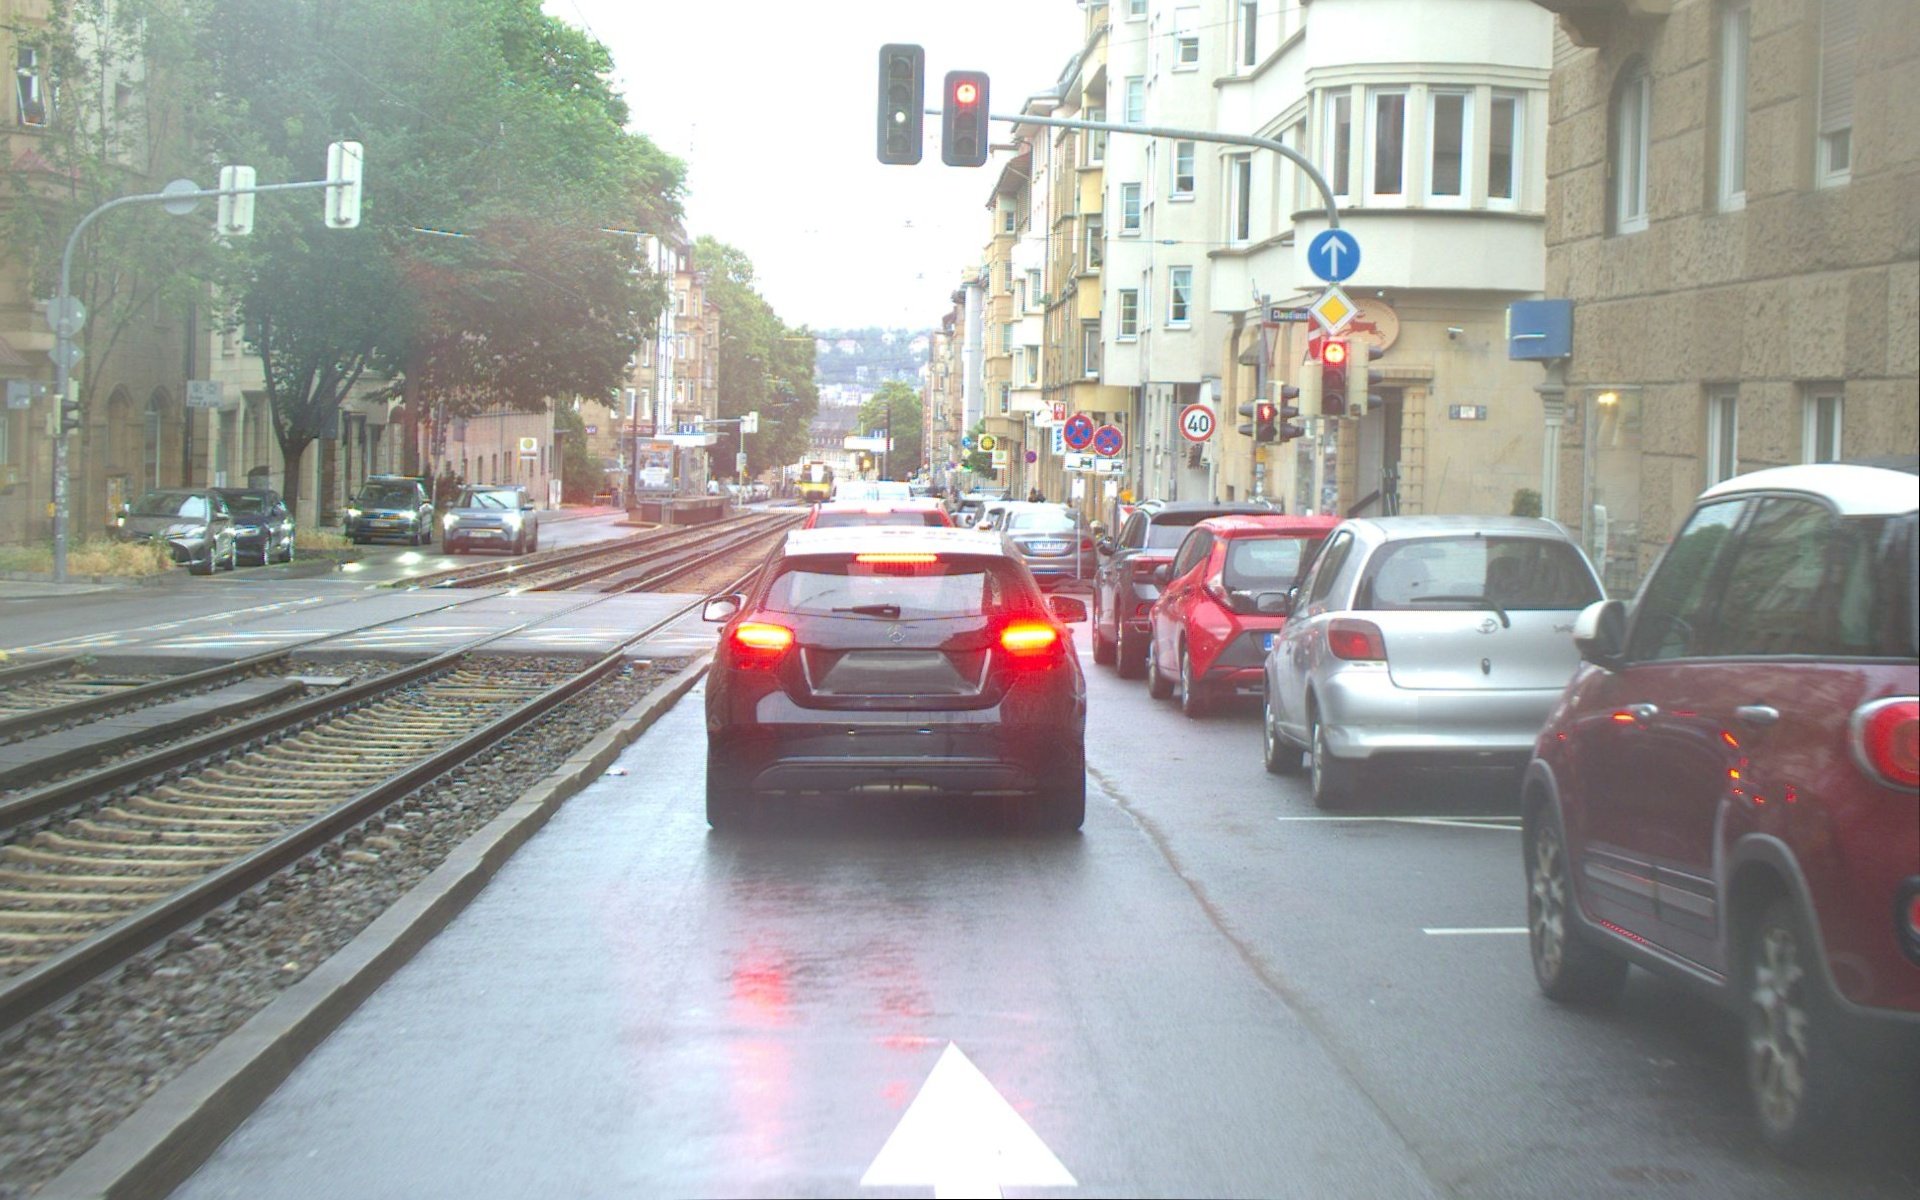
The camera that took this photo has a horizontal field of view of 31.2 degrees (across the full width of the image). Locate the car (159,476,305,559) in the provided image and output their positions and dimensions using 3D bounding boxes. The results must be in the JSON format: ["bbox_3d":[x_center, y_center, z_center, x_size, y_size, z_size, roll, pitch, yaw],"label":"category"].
[{"bbox_3d":[-14.019,-1.608,66.427,1.993,1.512,4.001,1,2,-1],"label":"car"}]

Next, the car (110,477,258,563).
[{"bbox_3d":[-13.758,-1.411,61.110,1.771,1.459,4.000,1,1,-1],"label":"car"}]

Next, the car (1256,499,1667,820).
[{"bbox_3d":[2.619,0.243,18.651,1.638,1.537,3.466,1,2,-1],"label":"car"}]

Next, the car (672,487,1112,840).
[{"bbox_3d":[-0.375,0.256,17.150,1.946,1.559,3.643,1,1,-2],"label":"car"}]

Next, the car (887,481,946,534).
[{"bbox_3d":[-1.474,-3.122,115.535,1.909,1.700,4.001,1,2,-1],"label":"car"}]

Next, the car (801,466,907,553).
[{"bbox_3d":[-2.082,-1.819,68.635,1.921,1.649,4.000,1,2,0],"label":"car"}]

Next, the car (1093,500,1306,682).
[{"bbox_3d":[2.123,-0.135,31.369,1.549,1.503,4.001,2,2,-1],"label":"car"}]

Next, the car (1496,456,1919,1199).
[{"bbox_3d":[2.688,0.478,9.246,1.710,1.623,4.001,2,2,-2],"label":"car"}]

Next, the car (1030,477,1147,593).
[{"bbox_3d":[2.308,-1.166,62.547,1.898,2.021,4.176,1,0,-1],"label":"car"}]

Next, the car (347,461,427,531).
[{"bbox_3d":[-14.512,-2.642,87.235,1.789,1.685,4.001,1,1,-7],"label":"car"}]

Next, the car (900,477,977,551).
[{"bbox_3d":[-0.552,-2.137,86.240,1.852,1.791,3.812,1,0,-1],"label":"car"}]

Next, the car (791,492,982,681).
[{"bbox_3d":[-0.638,-0.174,30.577,1.535,1.505,4.001,2,2,-1],"label":"car"}]

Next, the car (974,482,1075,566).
[{"bbox_3d":[1.378,-1.625,74.809,1.768,1.769,4.001,1,1,-5],"label":"car"}]

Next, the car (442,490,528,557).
[{"bbox_3d":[-11.157,-1.810,80.923,1.795,1.543,4.001,0,2,-5],"label":"car"}]

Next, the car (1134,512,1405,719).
[{"bbox_3d":[2.283,0.071,26.014,1.602,1.414,3.149,1,2,-3],"label":"car"}]
